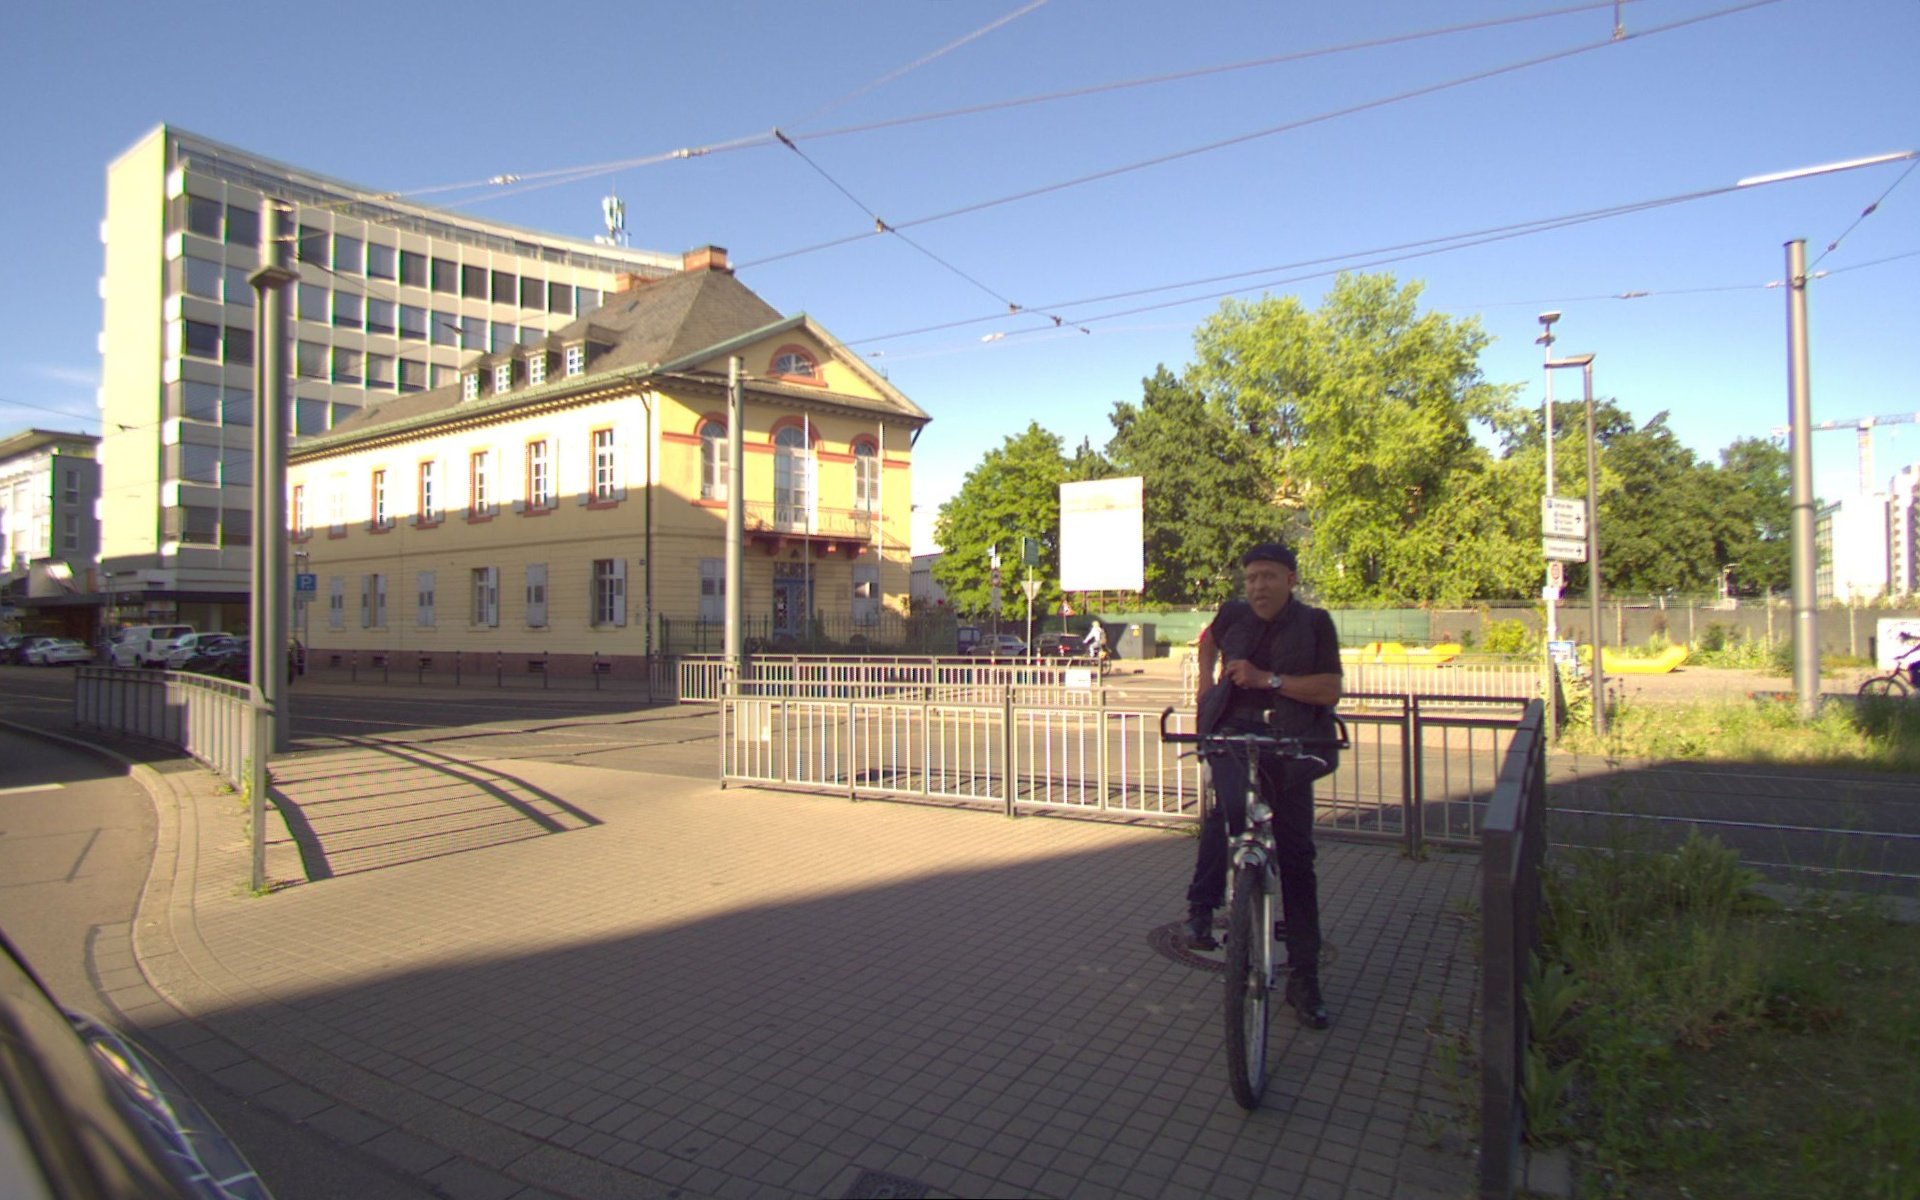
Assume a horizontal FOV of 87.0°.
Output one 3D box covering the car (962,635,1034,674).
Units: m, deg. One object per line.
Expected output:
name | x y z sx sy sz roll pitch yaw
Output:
car | 1.694 2.456 46.361 1.861 1.683 3.876 1 -1 -22

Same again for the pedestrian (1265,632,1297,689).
pedestrian | 10.680 1.996 33.670 0.696 1.865 0.740 1 -2 -43

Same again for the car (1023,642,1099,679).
car | 4.067 2.418 41.298 1.622 1.357 3.771 0 -1 -20

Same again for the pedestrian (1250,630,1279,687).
pedestrian | 9.934 1.907 33.044 0.587 1.831 0.705 1 -2 -43

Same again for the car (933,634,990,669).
car | 0.037 2.574 51.264 1.771 1.683 3.768 0 -1 -19

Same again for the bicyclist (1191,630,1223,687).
bicyclist | 7.396 1.732 30.332 0.514 1.686 0.772 1 -2 -39

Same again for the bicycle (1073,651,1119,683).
bicycle | 4.666 2.307 34.836 0.522 1.021 1.890 1 -2 -31

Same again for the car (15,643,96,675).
car | -46.083 2.966 51.561 4.278 1.463 1.912 -1 0 31

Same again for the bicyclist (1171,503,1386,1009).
bicyclist | 1.126 0.480 3.526 0.631 1.535 0.677 -1 -2 24

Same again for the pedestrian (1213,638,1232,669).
pedestrian | 12.572 2.569 48.448 0.683 1.462 0.739 -1 -2 31

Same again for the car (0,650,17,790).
car | -12.417 1.285 11.461 4.768 1.450 1.846 -1 -2 39

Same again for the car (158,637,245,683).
car | -30.487 2.370 40.640 4.169 1.633 1.760 -1 0 37

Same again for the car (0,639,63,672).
car | -50.309 2.962 54.532 4.269 1.654 1.911 -1 0 33

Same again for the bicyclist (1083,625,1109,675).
bicyclist | 4.683 1.712 34.827 0.513 1.686 0.772 1 -2 -31

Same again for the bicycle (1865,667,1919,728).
bicycle | 17.279 1.732 17.864 1.882 1.021 0.643 -1 -2 38

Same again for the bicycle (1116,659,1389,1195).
bicycle | 1.077 0.842 3.410 0.638 1.221 1.811 -1 -2 24

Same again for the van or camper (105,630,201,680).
van or camper | -35.138 2.328 44.013 4.784 1.988 1.938 -1 0 34

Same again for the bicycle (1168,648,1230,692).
bicycle | 7.207 2.092 30.577 0.523 1.223 1.889 1 -2 -38

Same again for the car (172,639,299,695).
car | -22.217 1.999 31.004 4.107 1.572 1.672 -1 -2 31
